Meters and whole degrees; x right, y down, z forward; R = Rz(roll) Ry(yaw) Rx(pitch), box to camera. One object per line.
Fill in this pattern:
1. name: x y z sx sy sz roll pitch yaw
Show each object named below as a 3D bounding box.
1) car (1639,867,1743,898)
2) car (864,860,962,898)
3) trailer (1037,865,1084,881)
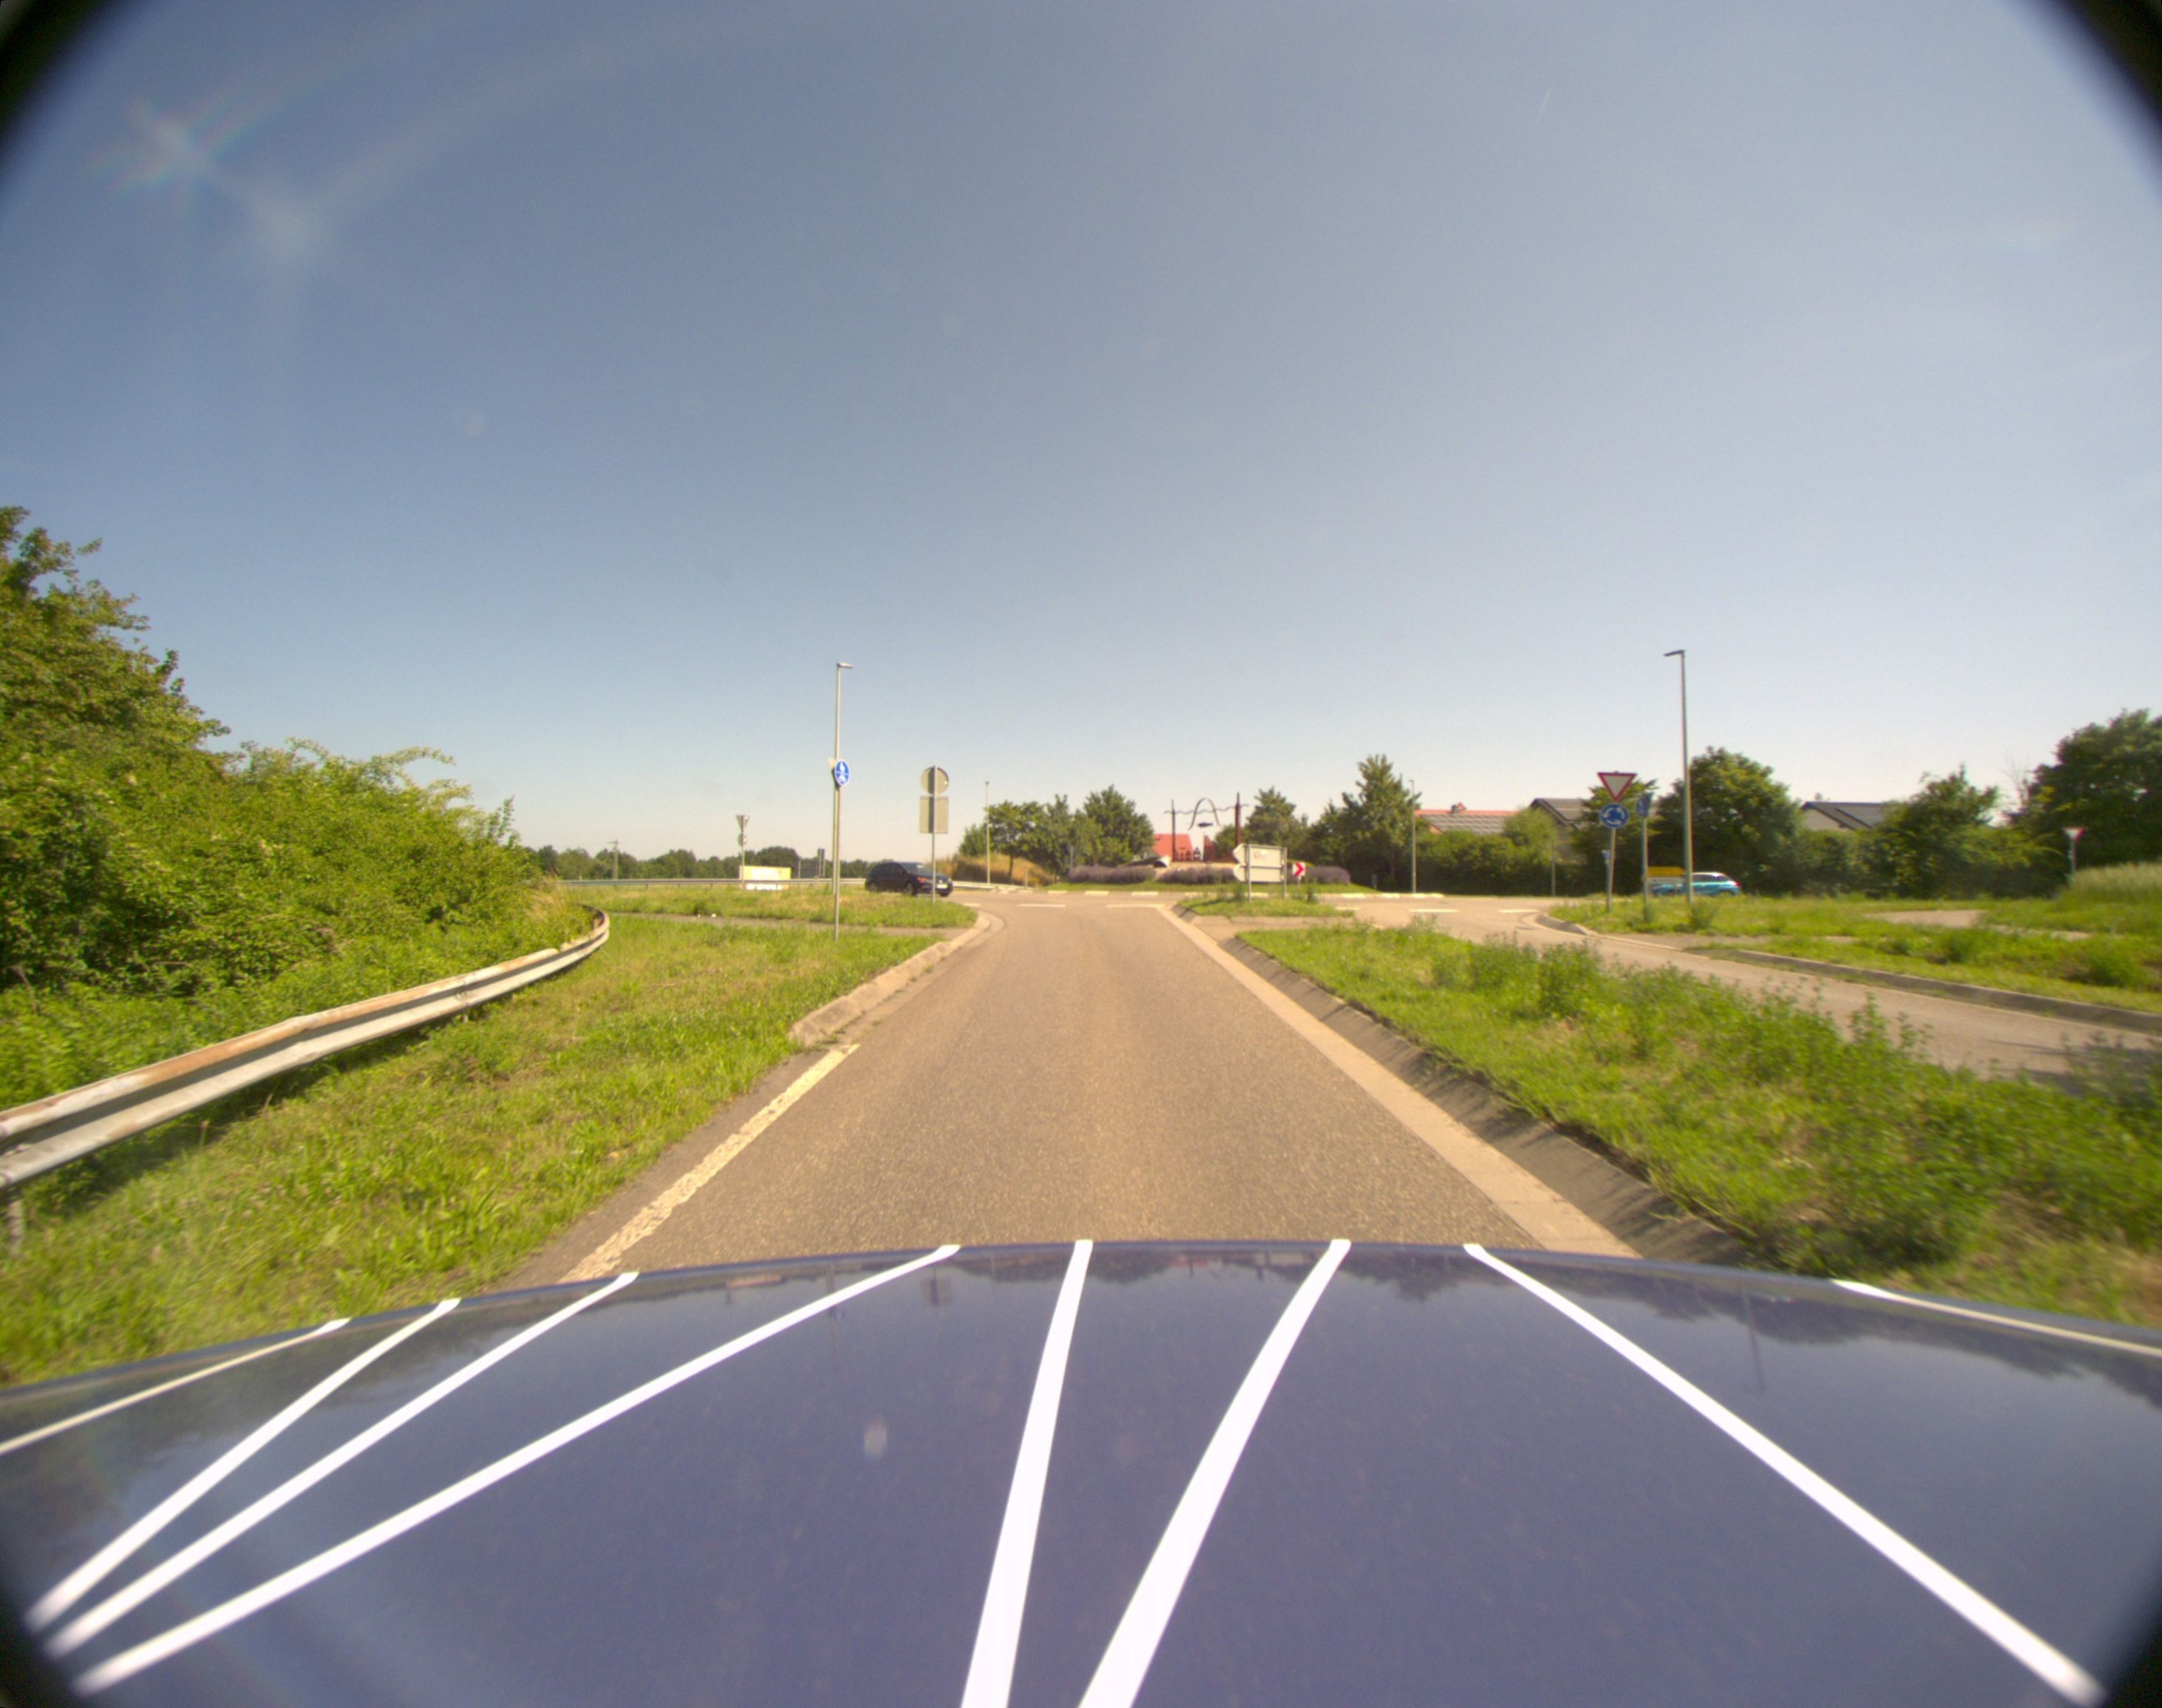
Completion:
1. car: 31.977 1.465 39.902 3.995 1.567 1.650 1 -1 5
2. car: -6.878 0.975 30.873 4.168 1.390 1.812 0 -1 42
3. trailer: -3.141 2.730 113.280 2.004 2.264 10.466 0 -1 -32
